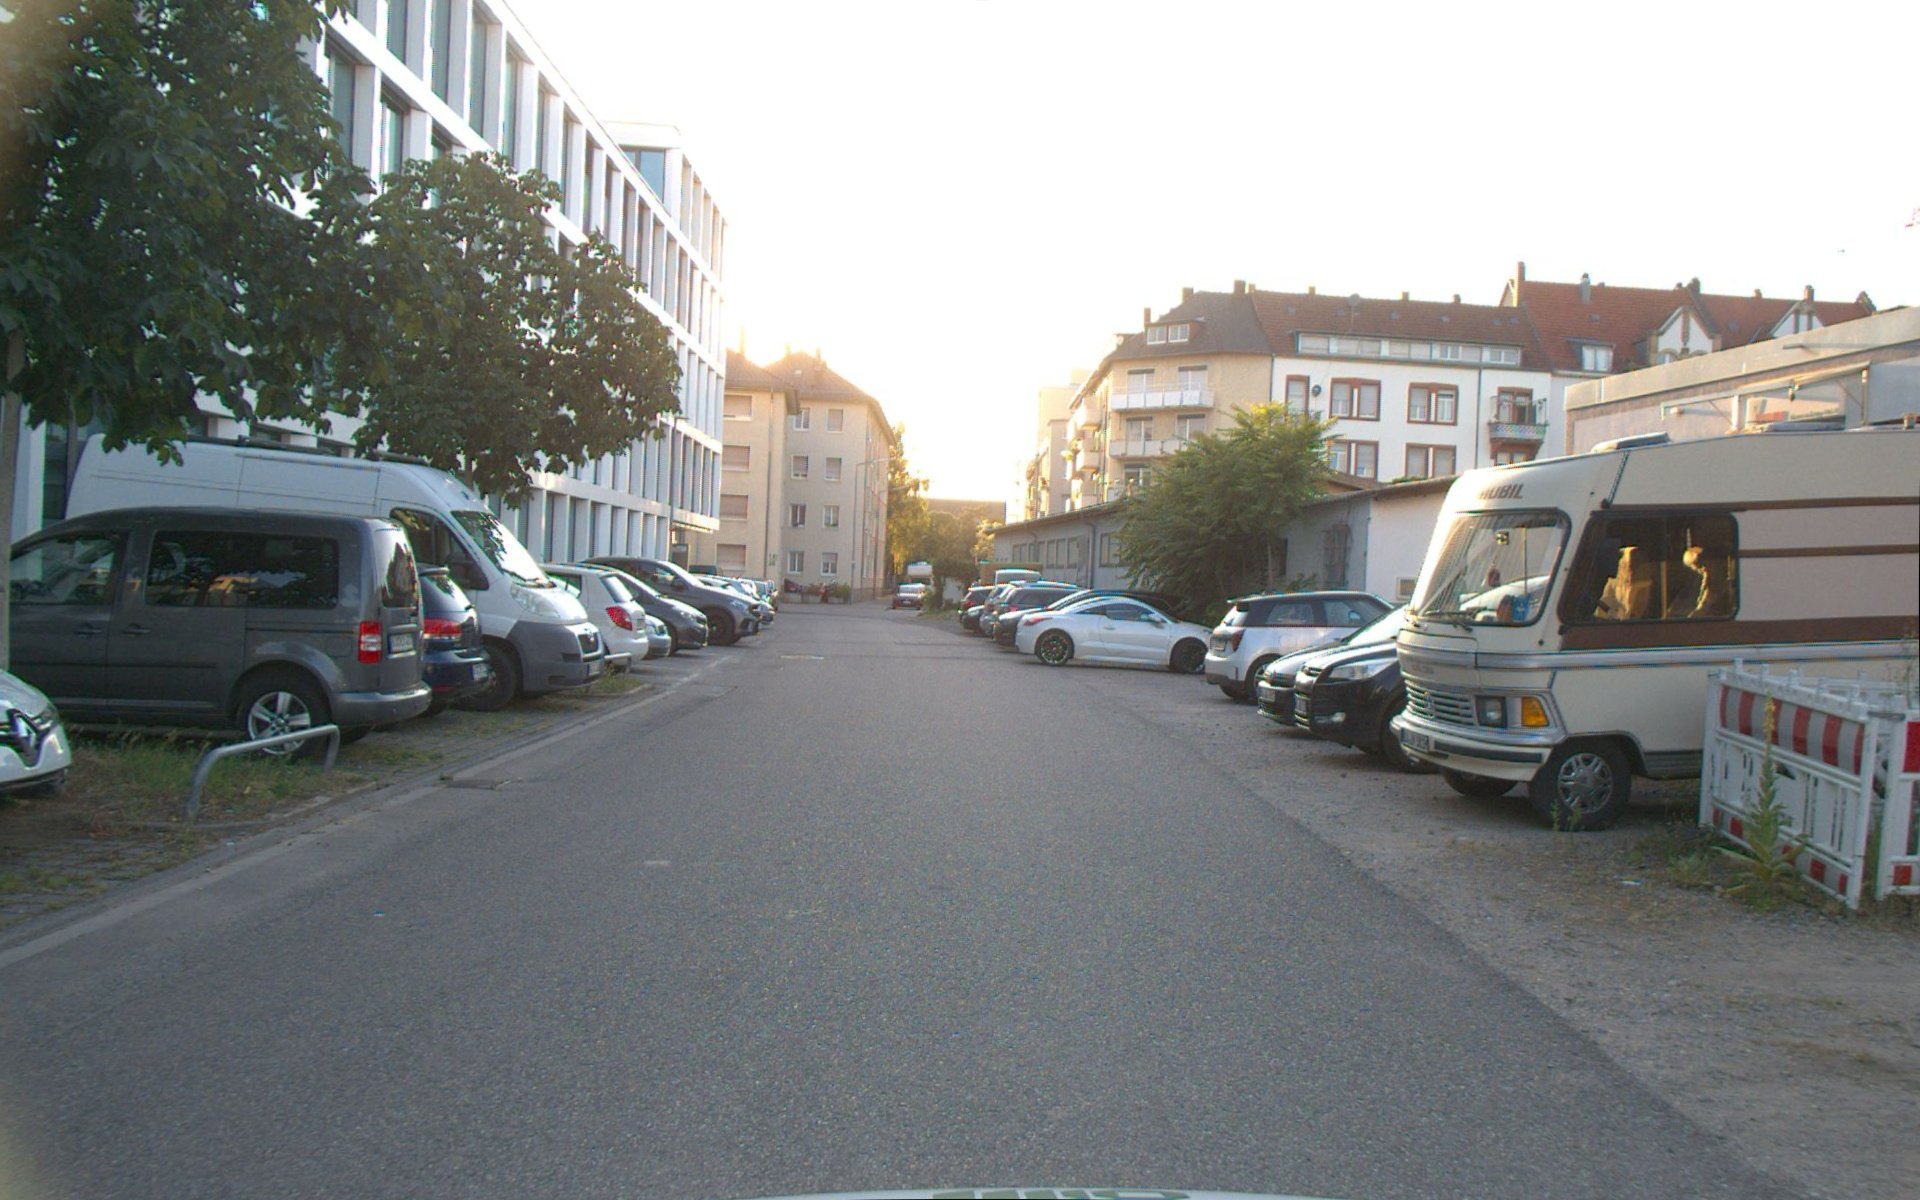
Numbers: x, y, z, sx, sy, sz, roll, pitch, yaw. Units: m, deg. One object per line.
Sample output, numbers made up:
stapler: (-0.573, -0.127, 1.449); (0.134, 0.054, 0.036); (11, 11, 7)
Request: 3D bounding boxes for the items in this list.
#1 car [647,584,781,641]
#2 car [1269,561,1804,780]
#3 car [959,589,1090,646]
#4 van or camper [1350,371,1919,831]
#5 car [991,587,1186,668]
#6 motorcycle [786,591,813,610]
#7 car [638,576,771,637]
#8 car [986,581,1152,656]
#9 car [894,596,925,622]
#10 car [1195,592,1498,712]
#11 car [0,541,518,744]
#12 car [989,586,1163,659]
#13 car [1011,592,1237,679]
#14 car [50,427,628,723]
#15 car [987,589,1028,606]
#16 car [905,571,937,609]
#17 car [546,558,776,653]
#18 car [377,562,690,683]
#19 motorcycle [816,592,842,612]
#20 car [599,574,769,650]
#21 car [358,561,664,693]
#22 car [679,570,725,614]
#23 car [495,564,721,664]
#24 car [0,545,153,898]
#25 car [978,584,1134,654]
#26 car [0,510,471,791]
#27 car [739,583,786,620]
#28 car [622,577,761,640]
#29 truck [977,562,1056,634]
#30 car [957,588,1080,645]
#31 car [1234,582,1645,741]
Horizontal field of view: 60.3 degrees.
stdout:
car: (-7.586, 0.375, 51.276); (3.847, 1.537, 1.687); (3, 0, -1)
car: (5.056, 0.599, 14.963); (4.154, 1.771, 1.967); (1, 0, 0)
car: (1.910, 0.514, 49.631); (3.686, 1.469, 1.843); (3, -1, -5)
van or camper: (6.007, 0.049, 12.014); (5.667, 2.914, 2.484); (1, 0, -5)
car: (2.821, 0.613, 37.075); (4.118, 1.529, 1.889); (3, -1, -2)
motorcycle: (-9.543, 0.042, 98.234); (0.708, 1.098, 2.081); (2, 0, 20)
car: (-7.482, 0.177, 48.629); (3.581, 1.537, 1.687); (3, 0, -2)
car: (2.762, 0.463, 42.330); (3.908, 1.647, 1.824); (3, 0, -7)
car: (-3.144, 0.545, 103.032); (1.808, 1.499, 4.077); (2, 0, -2)
car: (5.170, 0.678, 22.395); (3.633, 1.505, 1.710); (1, 0, -5)
car: (-6.270, 0.362, 15.023); (4.029, 1.525, 1.773); (3, 0, -6)
car: (2.738, 0.541, 39.549); (3.905, 1.470, 1.826); (3, -1, -3)
car: (3.099, 0.662, 31.886); (4.117, 1.391, 1.823); (3, 0, 0)
car: (-6.473, -0.260, 17.746); (5.272, 2.678, 2.078); (3, 0, -1)
car: (4.557, -0.245, 158.452); (3.906, 1.557, 1.659); (1, 0, -1)
car: (-3.476, -0.885, 148.250); (2.566, 3.326, 7.696); (1, 0, 0)
car: (-6.478, 0.107, 36.194); (4.523, 1.735, 2.005); (3, 0, 2)
car: (-6.411, 0.322, 25.213); (4.220, 1.521, 1.794); (3, 0, -1)
motorcycle: (-7.968, 0.113, 100.789); (0.675, 1.180, 2.033); (2, 0, 24)
car: (-6.438, 0.278, 38.863); (3.591, 1.537, 1.696); (3, 0, 2)
car: (-6.024, 0.351, 22.496); (3.633, 1.521, 1.707); (3, 0, -2)
car: (-12.620, -0.408, 81.042); (1.762, 2.014, 4.686); (2, 1, -4)
car: (-6.334, 0.244, 30.062); (3.707, 1.549, 1.692); (3, 0, -4)
car: (-6.224, 0.424, 7.640); (4.026, 1.545, 1.780); (3, 0, -3)
car: (2.563, 0.491, 44.827); (3.906, 1.637, 1.937); (3, 0, -5)
car: (-6.024, 0.324, 12.611); (4.029, 1.848, 1.814); (3, 0, -6)
car: (-9.073, 0.048, 76.189); (1.745, 1.504, 4.328); (6, 0, -3)
car: (-7.489, 0.226, 46.355); (3.581, 1.537, 1.687); (3, 0, -2)
truck: (1.850, -0.064, 56.200); (2.056, 2.239, 5.707); (2, 0, -4)
car: (1.801, 0.501, 52.057); (3.684, 1.562, 1.891); (3, 1, -2)
car: (5.133, 0.646, 17.953); (3.928, 1.591, 1.709); (1, 0, -8)
